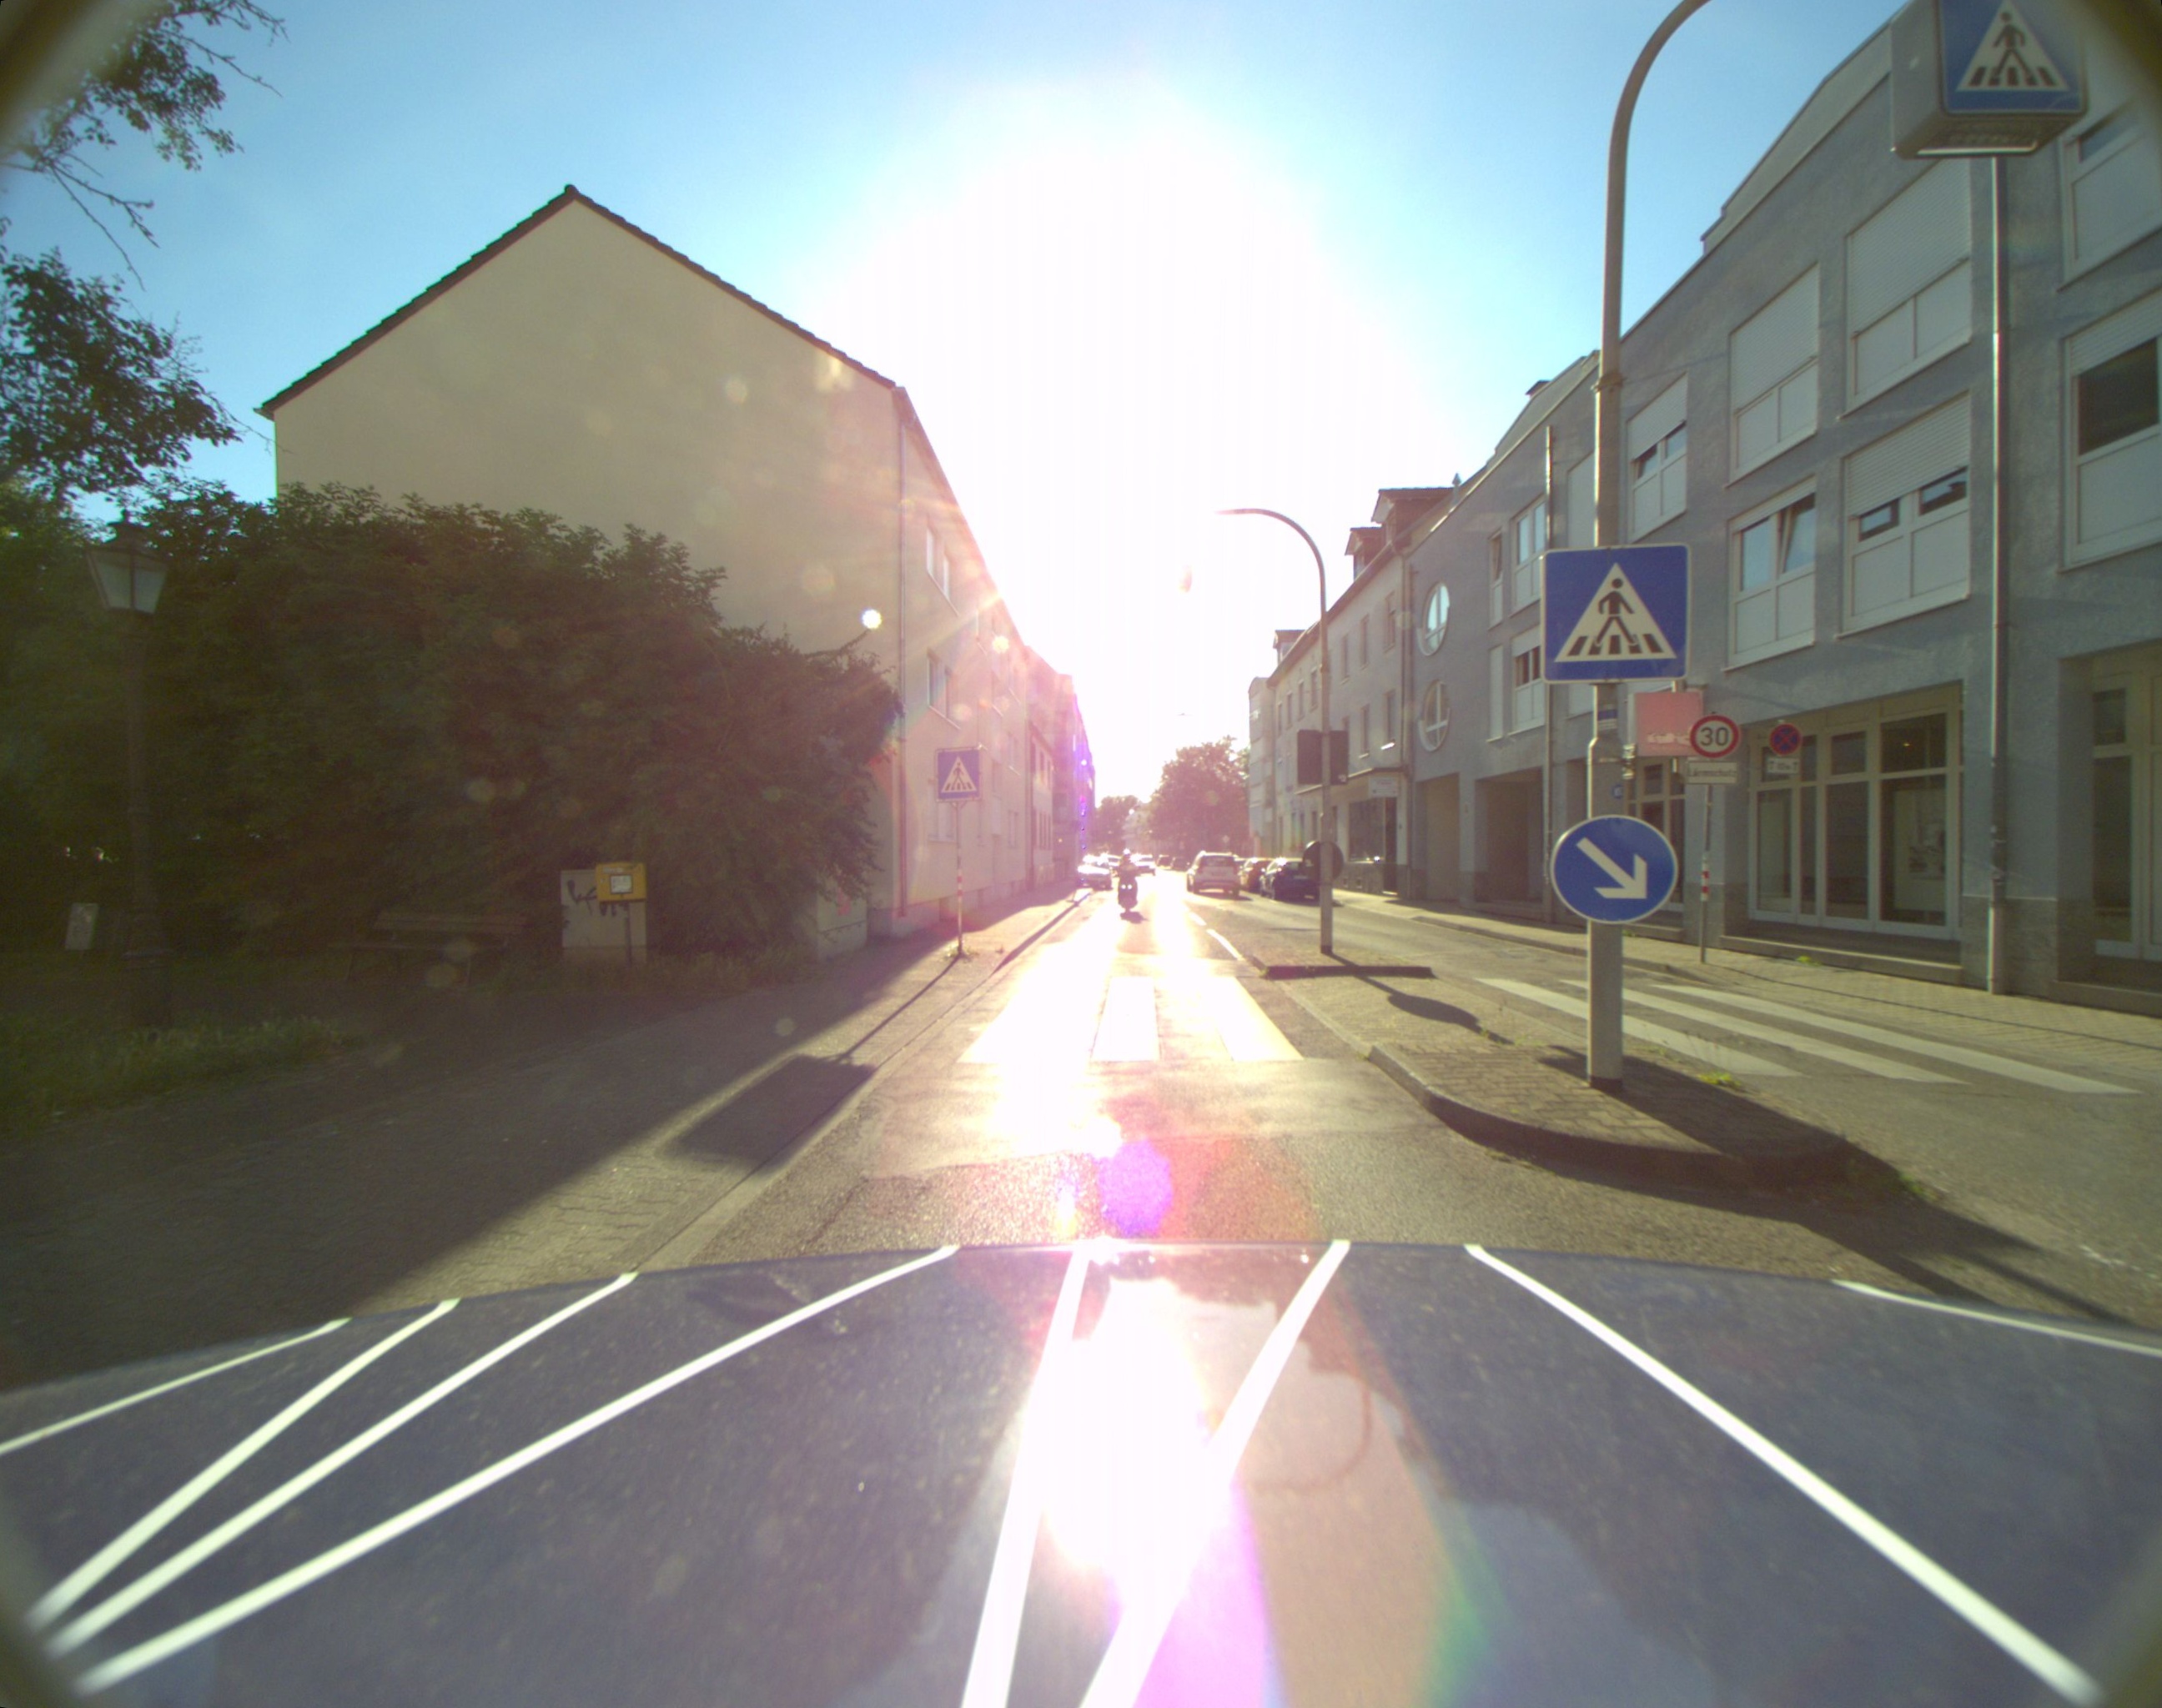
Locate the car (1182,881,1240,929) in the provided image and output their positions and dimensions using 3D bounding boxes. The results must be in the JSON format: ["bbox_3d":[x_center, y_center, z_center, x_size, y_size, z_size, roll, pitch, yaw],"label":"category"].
[{"bbox_3d":[5.271,2.039,31.293,1.811,1.691,4.193,1,0,3],"label":"car"}]

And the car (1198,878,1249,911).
[{"bbox_3d":[8.230,2.313,44.283,1.998,1.638,5.222,-1,-1,0],"label":"car"}]

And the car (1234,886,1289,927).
[{"bbox_3d":[7.869,2.251,33.360,1.664,1.517,3.810,1,0,3],"label":"car"}]

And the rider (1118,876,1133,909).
[{"bbox_3d":[2.290,1.978,39.275,0.655,1.553,1.083,-4,1,1],"label":"rider"}]

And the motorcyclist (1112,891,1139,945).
[{"bbox_3d":[1.229,1.748,21.002,0.717,1.424,0.746,0,0,1],"label":"motorcyclist"}]

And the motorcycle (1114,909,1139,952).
[{"bbox_3d":[1.243,2.109,21.151,0.598,1.004,1.821,0,0,1],"label":"motorcycle"}]

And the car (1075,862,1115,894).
[{"bbox_3d":[0.767,1.148,38.542,1.745,1.483,4.440,1,0,4],"label":"car"}]

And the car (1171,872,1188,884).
[{"bbox_3d":[12.878,3.120,99.547,1.701,1.483,4.001,1,-1,1],"label":"car"}]

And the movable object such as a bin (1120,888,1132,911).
[{"bbox_3d":[2.326,2.341,39.383,0.455,1.027,1.840,-4,1,1],"label":"movable object such as a bin"}]

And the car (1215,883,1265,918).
[{"bbox_3d":[8.004,2.319,38.606,1.769,1.487,4.127,2,0,1],"label":"car"}]

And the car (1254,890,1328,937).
[{"bbox_3d":[7.557,2.101,27.699,1.735,1.490,3.960,0,-1,2],"label":"car"}]

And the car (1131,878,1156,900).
[{"bbox_3d":[4.968,2.779,60.796,1.708,1.569,3.916,-1,0,2],"label":"car"}]
